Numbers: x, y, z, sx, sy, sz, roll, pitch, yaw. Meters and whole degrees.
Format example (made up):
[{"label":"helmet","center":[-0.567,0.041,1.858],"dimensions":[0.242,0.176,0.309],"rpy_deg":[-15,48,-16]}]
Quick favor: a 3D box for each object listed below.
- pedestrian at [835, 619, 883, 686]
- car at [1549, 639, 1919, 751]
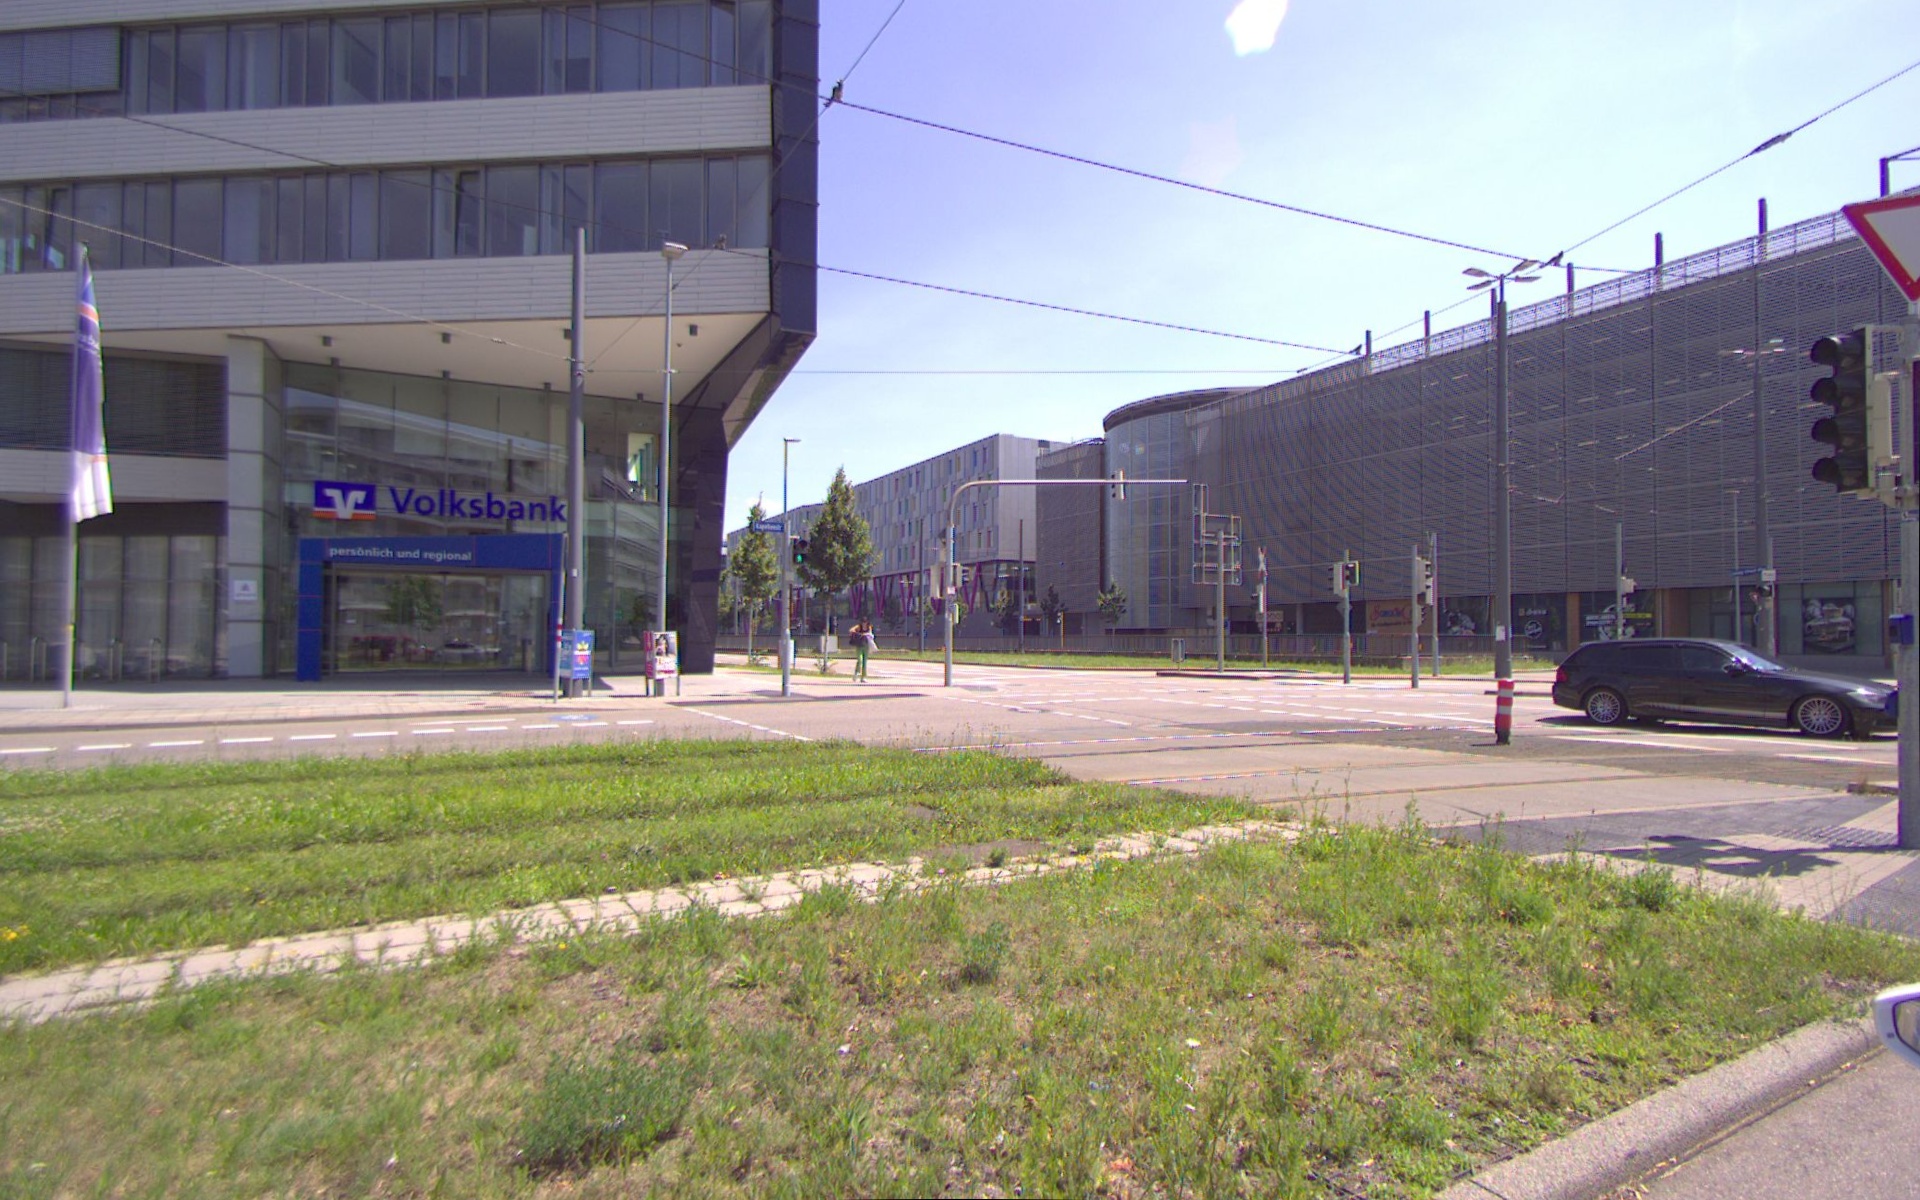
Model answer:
[{"label":"pedestrian","center":[-2.735,1.400,27.307],"dimensions":[0.889,1.770,0.975],"rpy_deg":[0,-1,31]},{"label":"car","center":[11.618,1.323,15.358],"dimensions":[1.617,1.360,4.282],"rpy_deg":[1,-1,-32]}]
